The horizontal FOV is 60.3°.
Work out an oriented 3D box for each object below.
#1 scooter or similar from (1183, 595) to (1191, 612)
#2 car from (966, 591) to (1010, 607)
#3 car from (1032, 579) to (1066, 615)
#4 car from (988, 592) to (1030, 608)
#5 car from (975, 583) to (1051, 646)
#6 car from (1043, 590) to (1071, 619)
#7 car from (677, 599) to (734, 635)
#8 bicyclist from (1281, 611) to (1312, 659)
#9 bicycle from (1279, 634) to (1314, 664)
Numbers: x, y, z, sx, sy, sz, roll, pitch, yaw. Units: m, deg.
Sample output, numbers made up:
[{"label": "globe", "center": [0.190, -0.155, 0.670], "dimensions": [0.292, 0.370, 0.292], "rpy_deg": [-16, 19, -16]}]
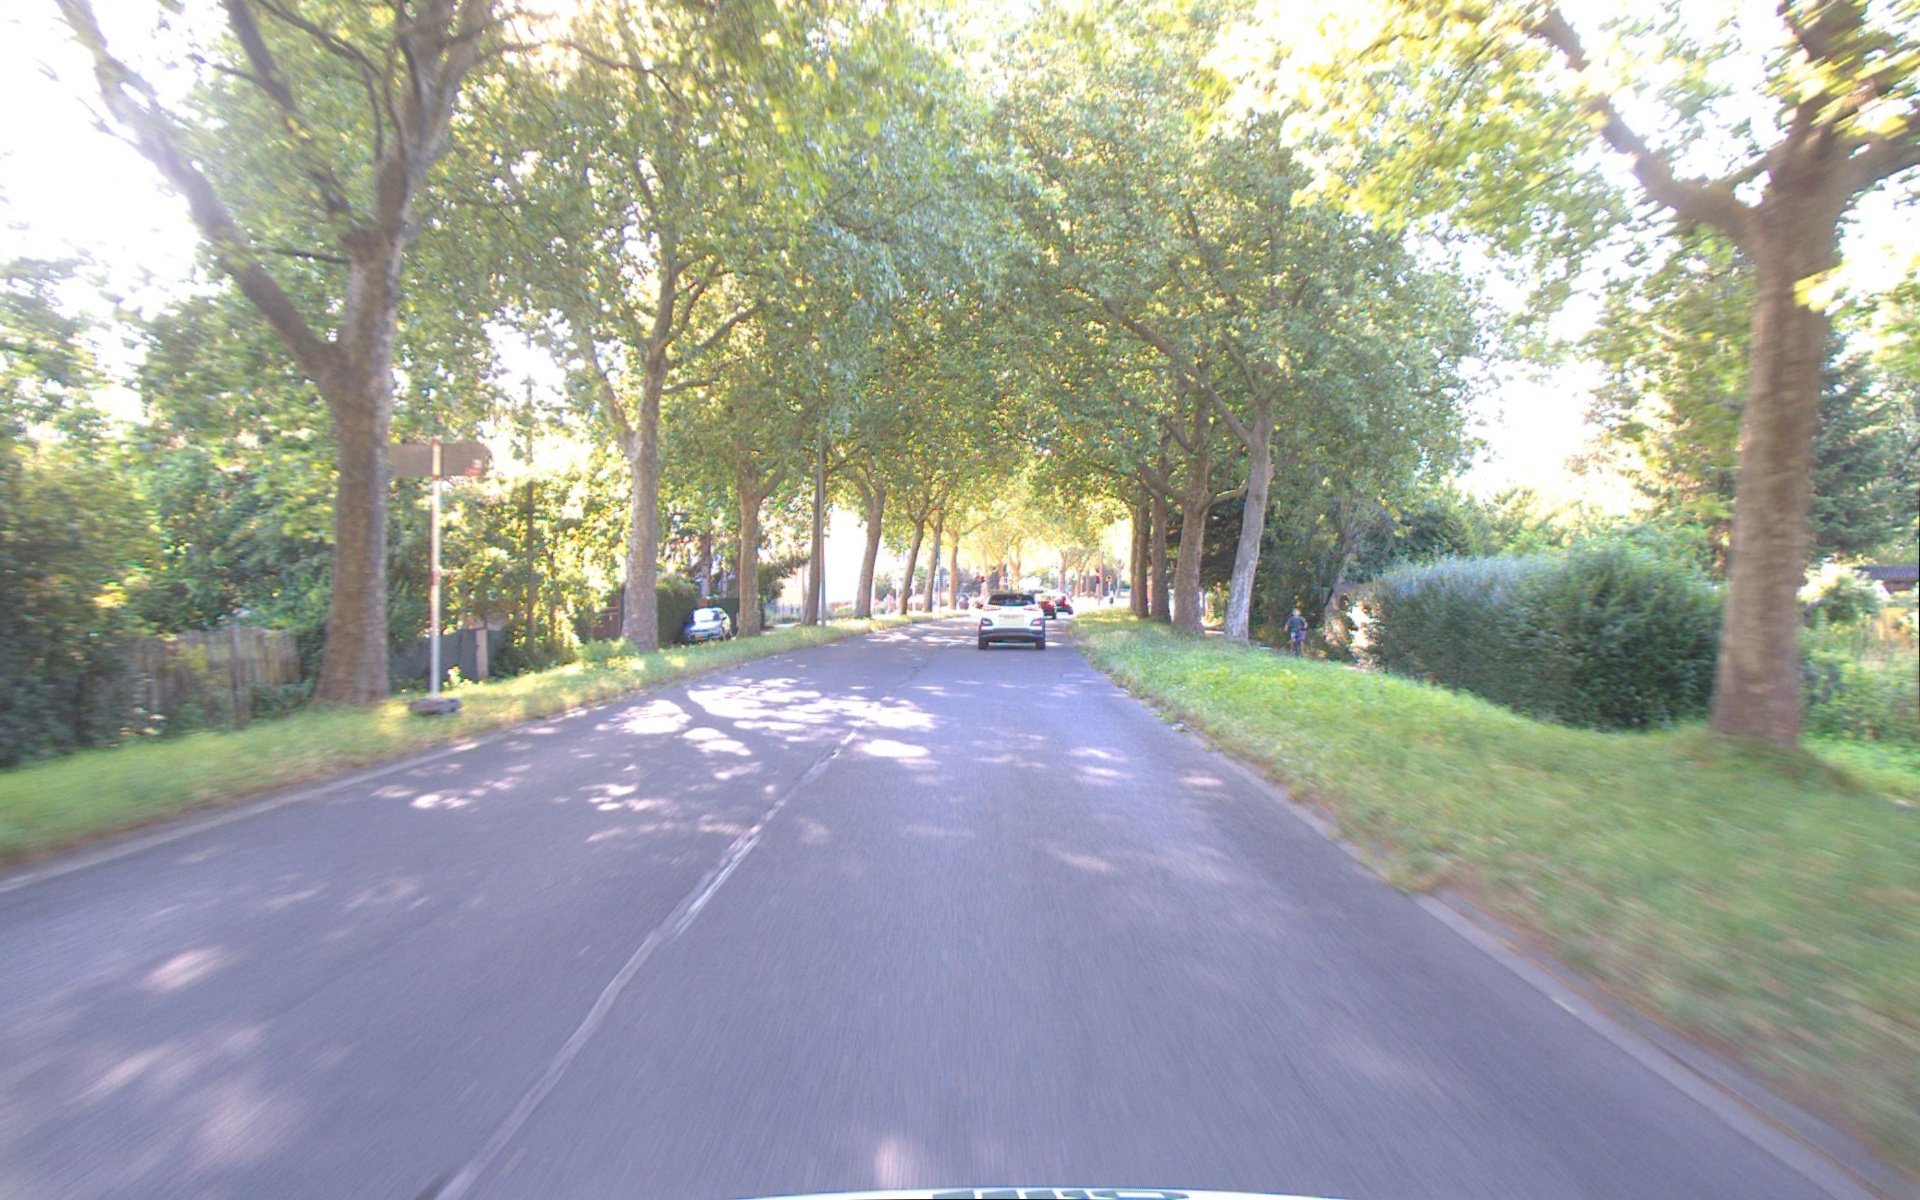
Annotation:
[{"label": "scooter or similar", "center": [17.532, 0.251, 127.889], "dimensions": [0.537, 1.280, 2.315], "rpy_deg": [1, 0, 7]}, {"label": "car", "center": [2.665, -0.084, 154.779], "dimensions": [3.902, 1.504, 2.001], "rpy_deg": [1, 0, 6]}, {"label": "car", "center": [5.333, -0.164, 99.277], "dimensions": [1.952, 2.049, 4.001], "rpy_deg": [1, 0, 3]}, {"label": "car", "center": [4.867, -0.011, 164.864], "dimensions": [3.902, 1.504, 2.002], "rpy_deg": [1, 0, 10]}, {"label": "car", "center": [1.446, 0.386, 44.899], "dimensions": [1.952, 1.602, 4.001], "rpy_deg": [1, 0, 2]}, {"label": "car", "center": [6.900, 0.323, 118.507], "dimensions": [1.952, 2.049, 4.001], "rpy_deg": [1, 0, 3]}, {"label": "car", "center": [-10.440, 0.694, 68.165], "dimensions": [1.716, 1.327, 4.000], "rpy_deg": [-1, 1, 0]}, {"label": "bicyclist", "center": [9.874, 1.035, 48.539], "dimensions": [0.719, 1.390, 0.770], "rpy_deg": [1, -1, -3]}, {"label": "bicycle", "center": [9.870, 1.424, 48.573], "dimensions": [0.541, 0.831, 1.887], "rpy_deg": [1, 0, -3]}]
